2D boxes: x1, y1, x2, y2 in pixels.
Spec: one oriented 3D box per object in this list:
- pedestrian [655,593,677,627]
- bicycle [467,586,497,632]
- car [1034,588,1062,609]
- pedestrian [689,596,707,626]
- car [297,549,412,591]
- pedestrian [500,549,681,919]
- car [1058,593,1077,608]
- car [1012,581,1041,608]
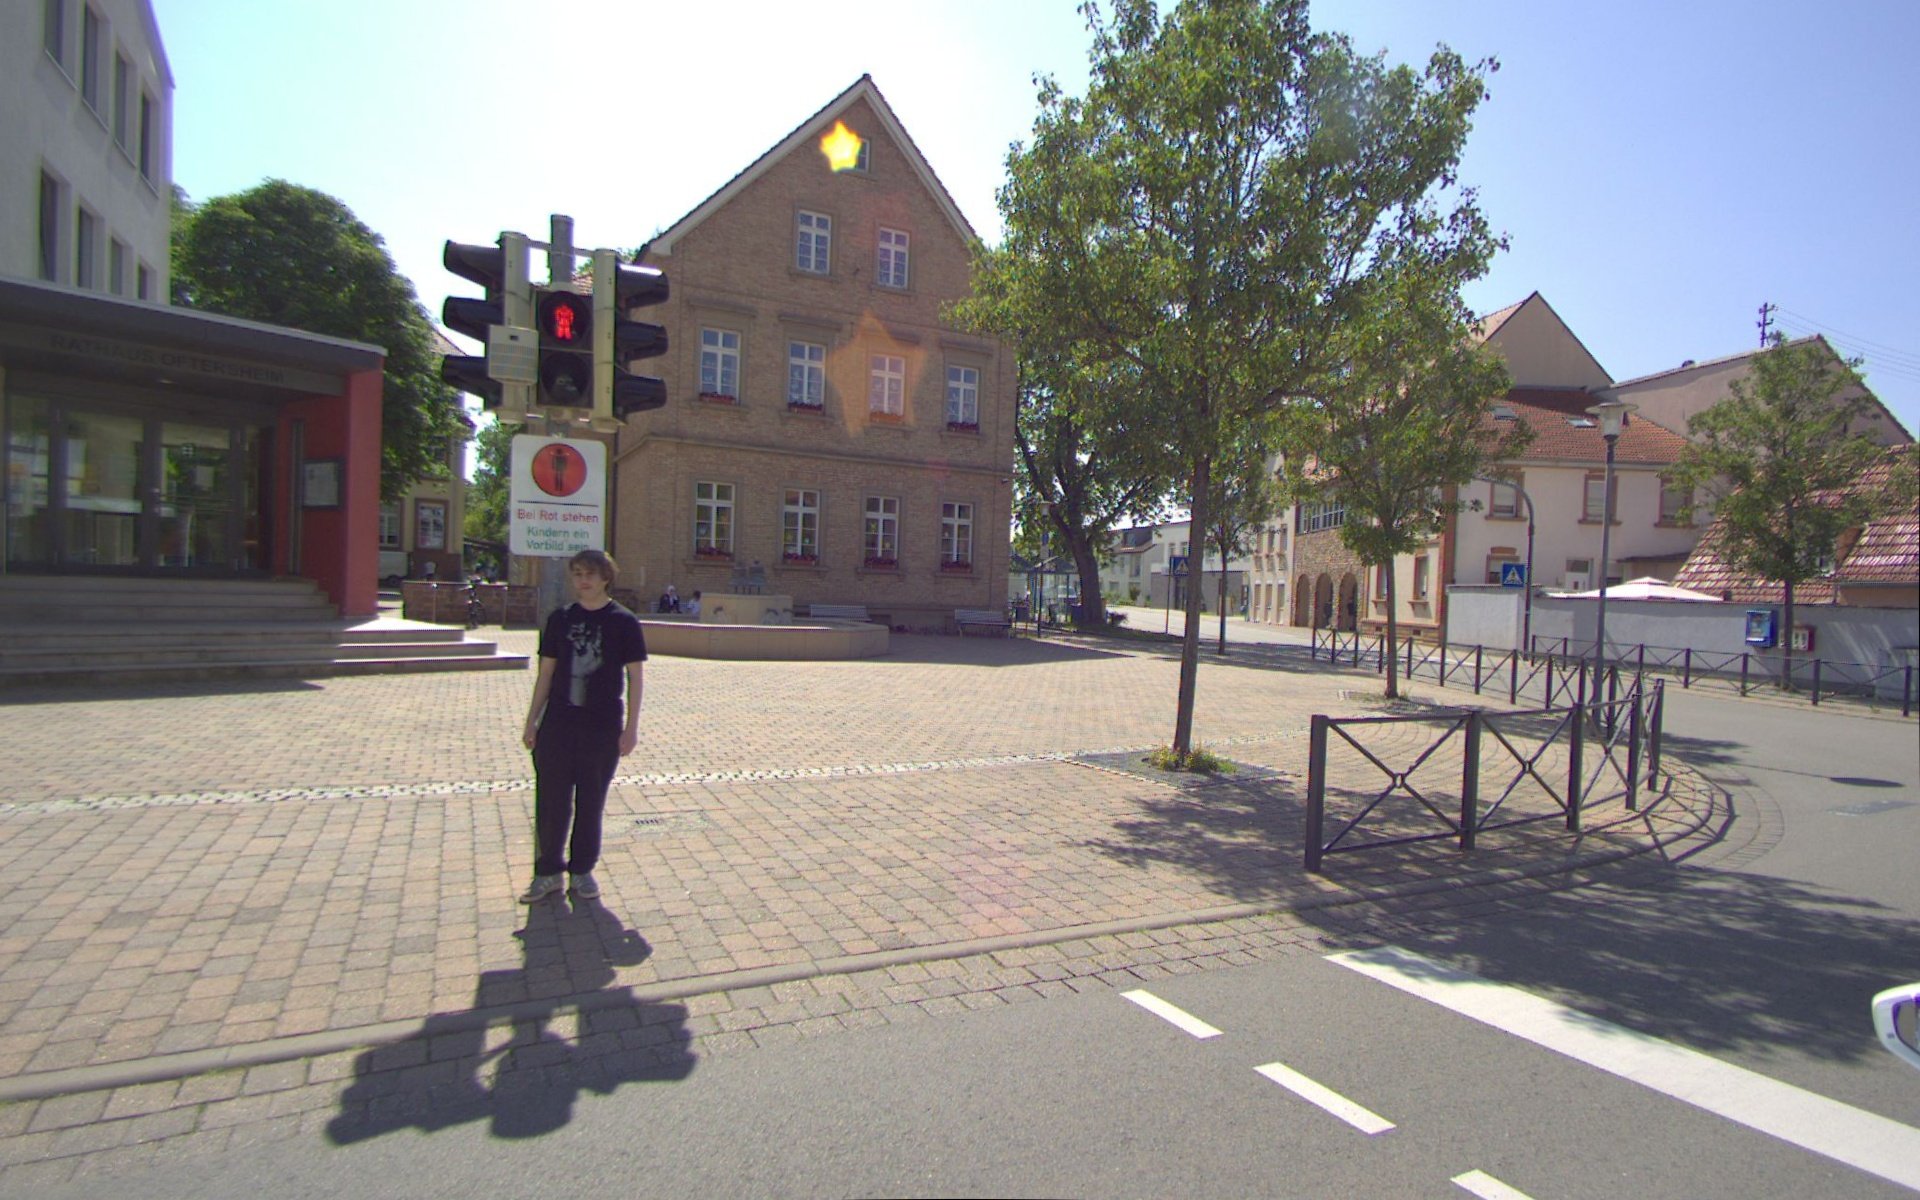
[{"bbox_3d":[-7.324,0.242,25.032,0.365,0.828,0.357,2,1,-44],"label":"pedestrian"},{"bbox_3d":[-12.024,0.214,25.256,0.573,1.019,1.939,2,3,-28],"label":"bicycle"},{"bbox_3d":[7.192,-0.116,82.397,1.747,1.667,3.998,2,0,-3],"label":"car"},{"bbox_3d":[-6.639,0.281,25.482,0.287,0.742,0.353,2,1,-44],"label":"pedestrian"},{"bbox_3d":[-32.683,-1.591,54.336,5.221,1.963,1.982,2,0,-33],"label":"car"},{"bbox_3d":[-1.754,0.602,4.821,0.546,1.640,0.550,3,1,8],"label":"pedestrian"},{"bbox_3d":[12.900,0.049,120.240,1.747,1.804,3.999,2,0,-1],"label":"car"},{"bbox_3d":[4.734,-0.414,71.896,1.747,1.818,3.999,2,0,-1],"label":"car"}]
